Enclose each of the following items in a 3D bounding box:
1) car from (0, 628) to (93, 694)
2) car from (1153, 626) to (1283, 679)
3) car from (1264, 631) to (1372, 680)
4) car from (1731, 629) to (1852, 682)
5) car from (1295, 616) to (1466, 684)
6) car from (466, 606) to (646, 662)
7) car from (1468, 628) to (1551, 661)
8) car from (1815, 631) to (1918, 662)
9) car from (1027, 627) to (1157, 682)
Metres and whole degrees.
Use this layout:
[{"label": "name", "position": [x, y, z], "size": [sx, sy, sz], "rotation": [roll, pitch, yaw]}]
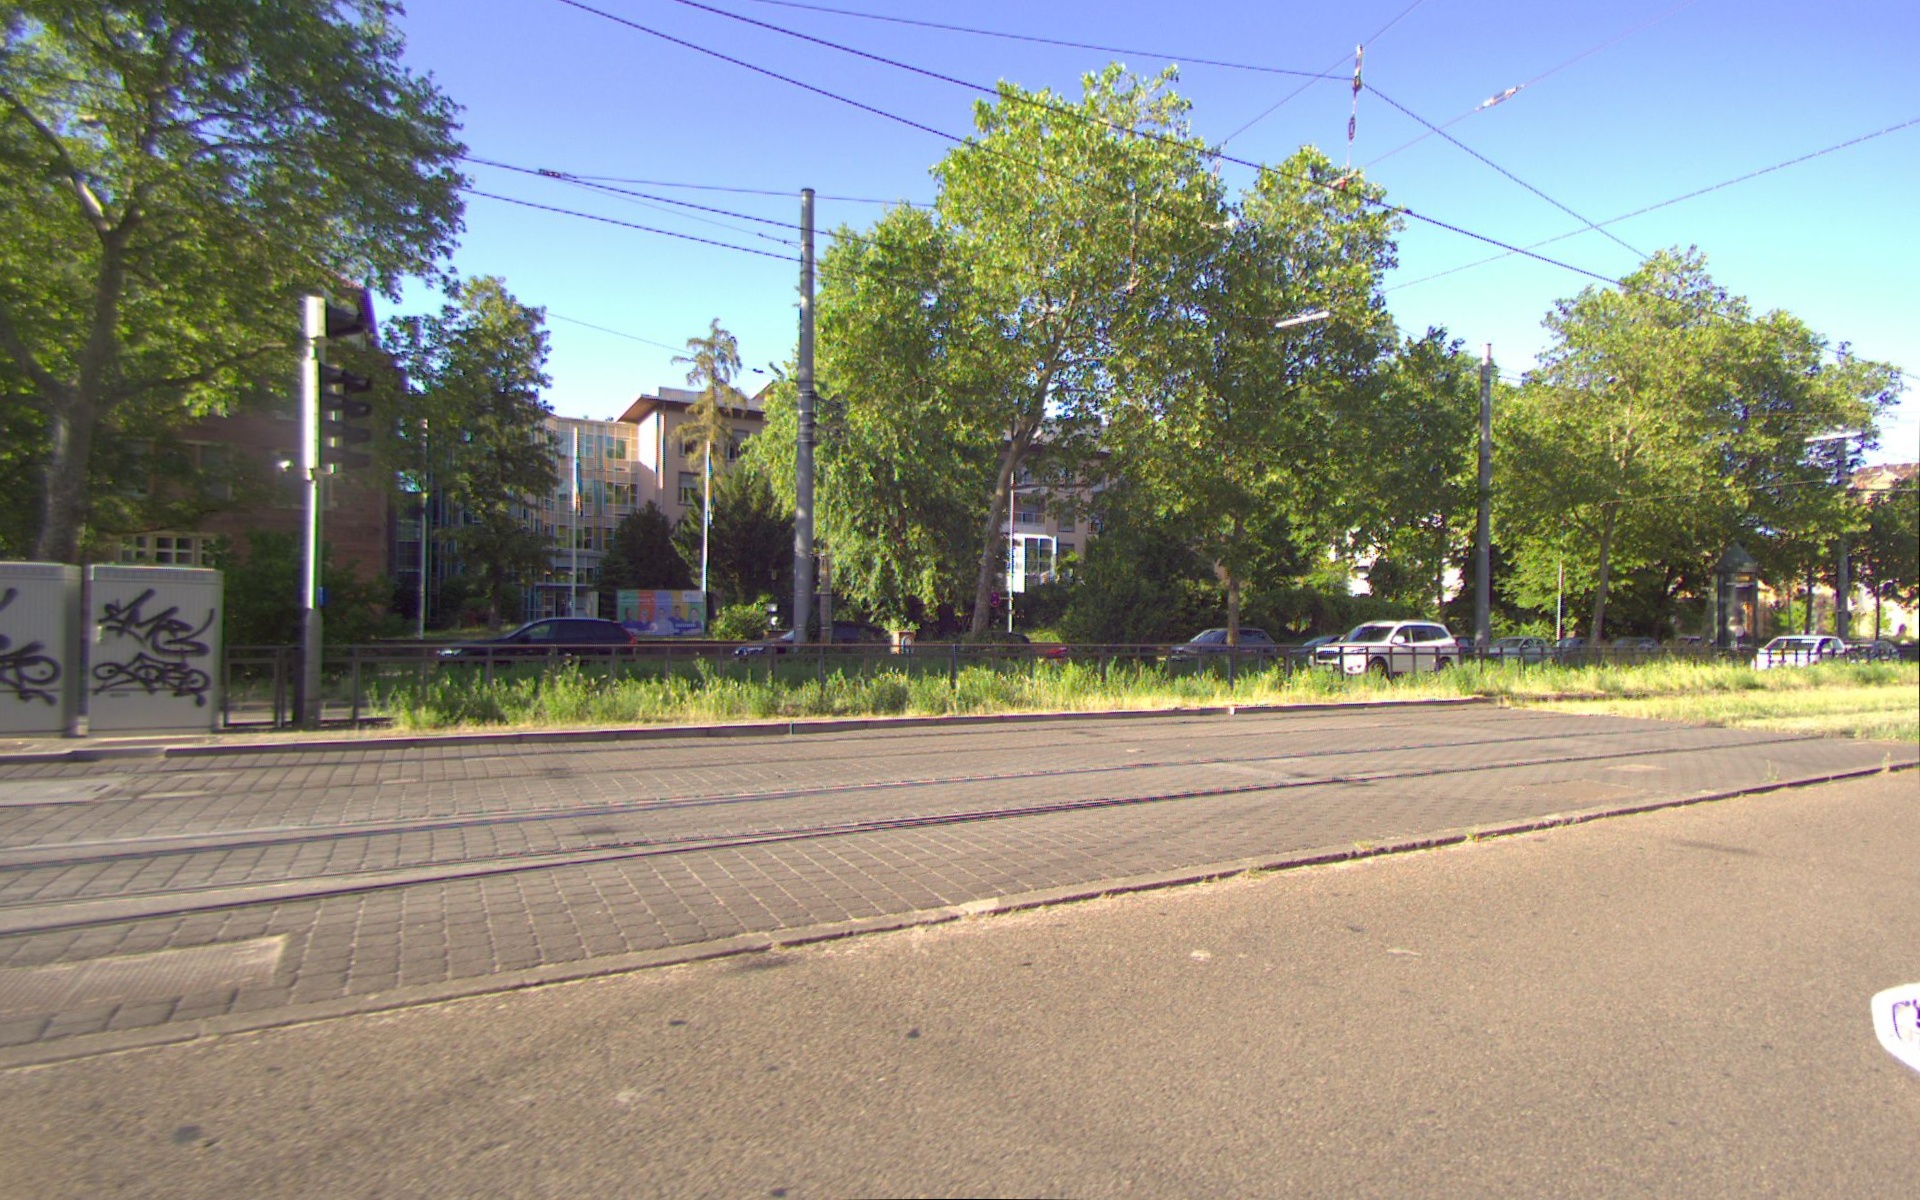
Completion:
[{"label": "car", "position": [-19.531, 1.168, 19.554], "size": [3.716, 1.237, 1.614], "rotation": [1, -1, -28]}, {"label": "car", "position": [9.337, 1.834, 36.270], "size": [4.463, 1.706, 1.983], "rotation": [1, 1, -32]}, {"label": "car", "position": [13.945, 2.115, 39.055], "size": [3.953, 1.706, 1.812], "rotation": [1, 1, -30]}, {"label": "car", "position": [27.036, 1.759, 32.656], "size": [3.829, 1.550, 1.835], "rotation": [1, 1, -31]}, {"label": "car", "position": [11.390, 1.307, 27.159], "size": [4.543, 1.641, 1.877], "rotation": [1, 1, -30]}, {"label": "car", "position": [-10.009, 0.844, 24.926], "size": [3.976, 1.240, 1.588], "rotation": [2, 0, -29]}, {"label": "car", "position": [24.108, 1.914, 44.024], "size": [3.460, 1.330, 1.561], "rotation": [1, 1, -29]}, {"label": "car", "position": [38.083, 1.923, 42.187], "size": [4.646, 1.150, 1.683], "rotation": [1, 1, -28]}, {"label": "car", "position": [4.427, 1.782, 33.571], "size": [3.954, 1.644, 1.983], "rotation": [1, 1, -31]}]
